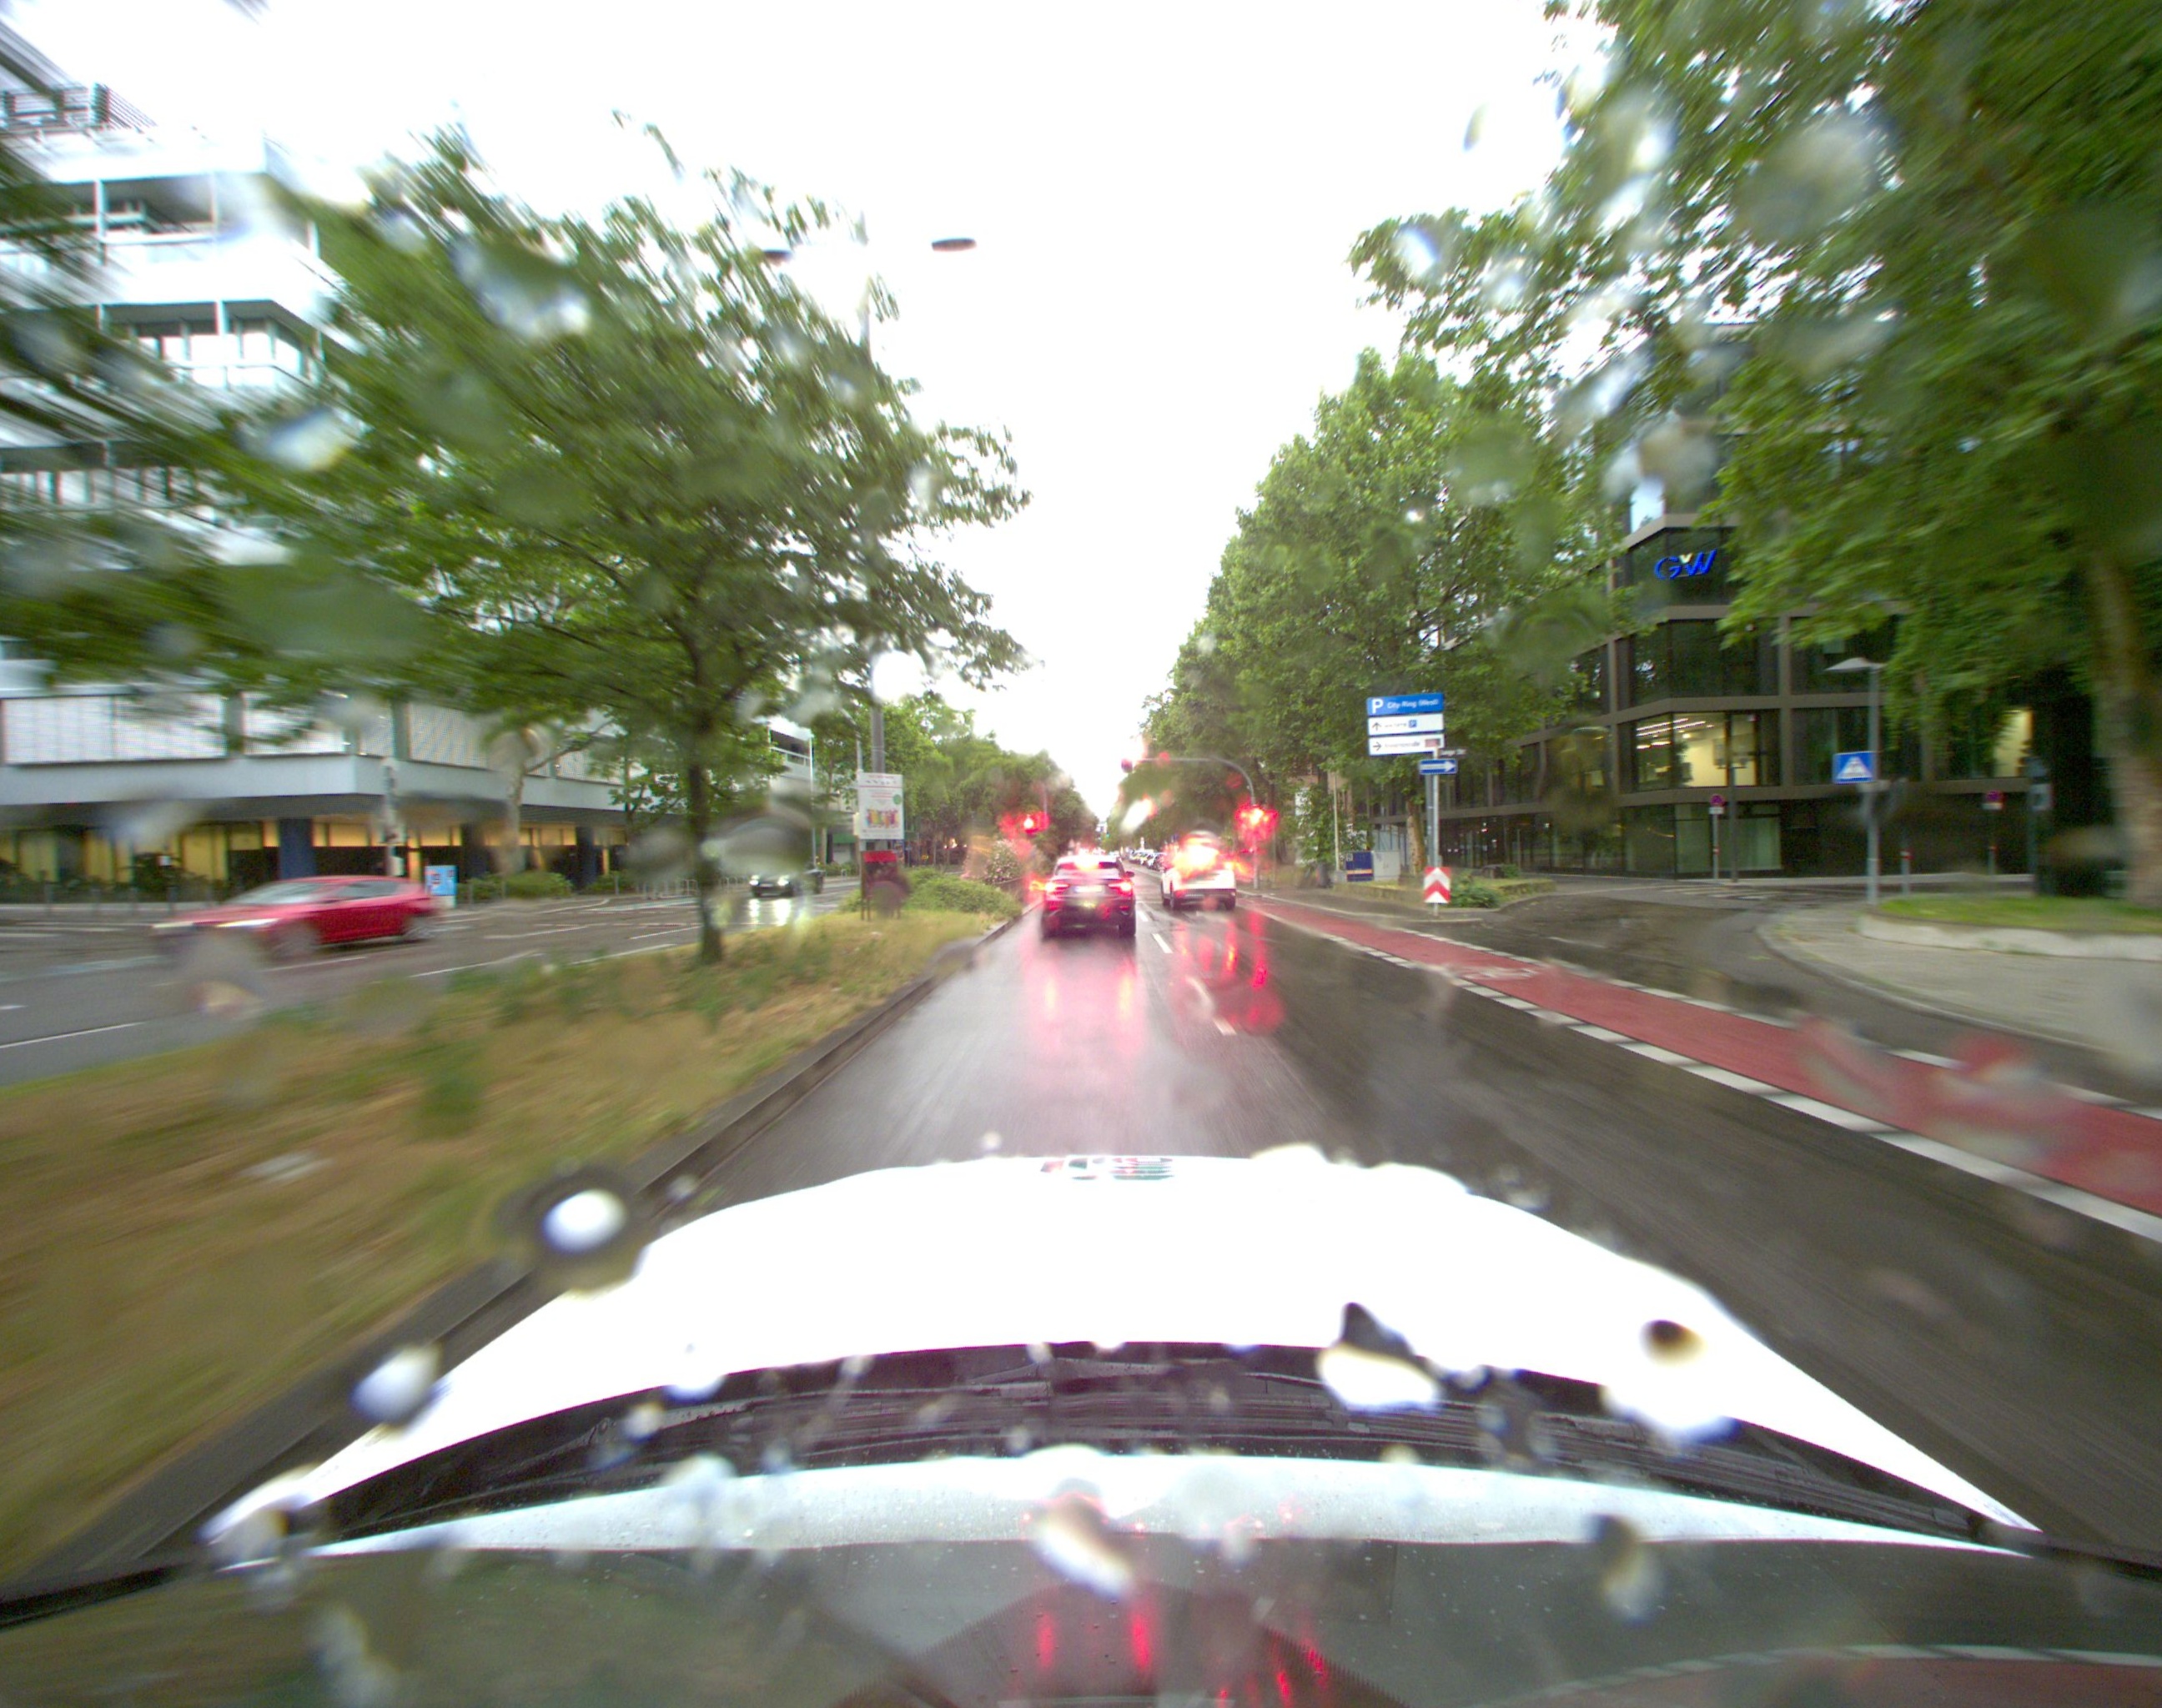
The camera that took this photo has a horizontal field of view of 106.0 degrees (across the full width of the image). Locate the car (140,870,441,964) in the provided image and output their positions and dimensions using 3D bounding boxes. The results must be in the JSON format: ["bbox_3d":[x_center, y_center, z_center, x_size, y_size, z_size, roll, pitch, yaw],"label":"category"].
[{"bbox_3d":[-14.811,1.096,15.657,1.609,1.394,4.185,-1,1,1],"label":"car"}]

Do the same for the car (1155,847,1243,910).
[{"bbox_3d":[3.455,0.647,24.711,1.987,1.655,4.889,-1,1,1],"label":"car"}]

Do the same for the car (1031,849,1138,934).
[{"bbox_3d":[0.098,0.673,16.851,1.912,1.491,4.001,-1,1,1],"label":"car"}]

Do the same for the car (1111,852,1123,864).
[{"bbox_3d":[5.390,0.548,121.897,1.615,1.666,4.001,-2,0,1],"label":"car"}]

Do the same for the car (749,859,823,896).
[{"bbox_3d":[-13.639,1.043,37.887,1.823,1.552,4.190,-1,0,1],"label":"car"}]
